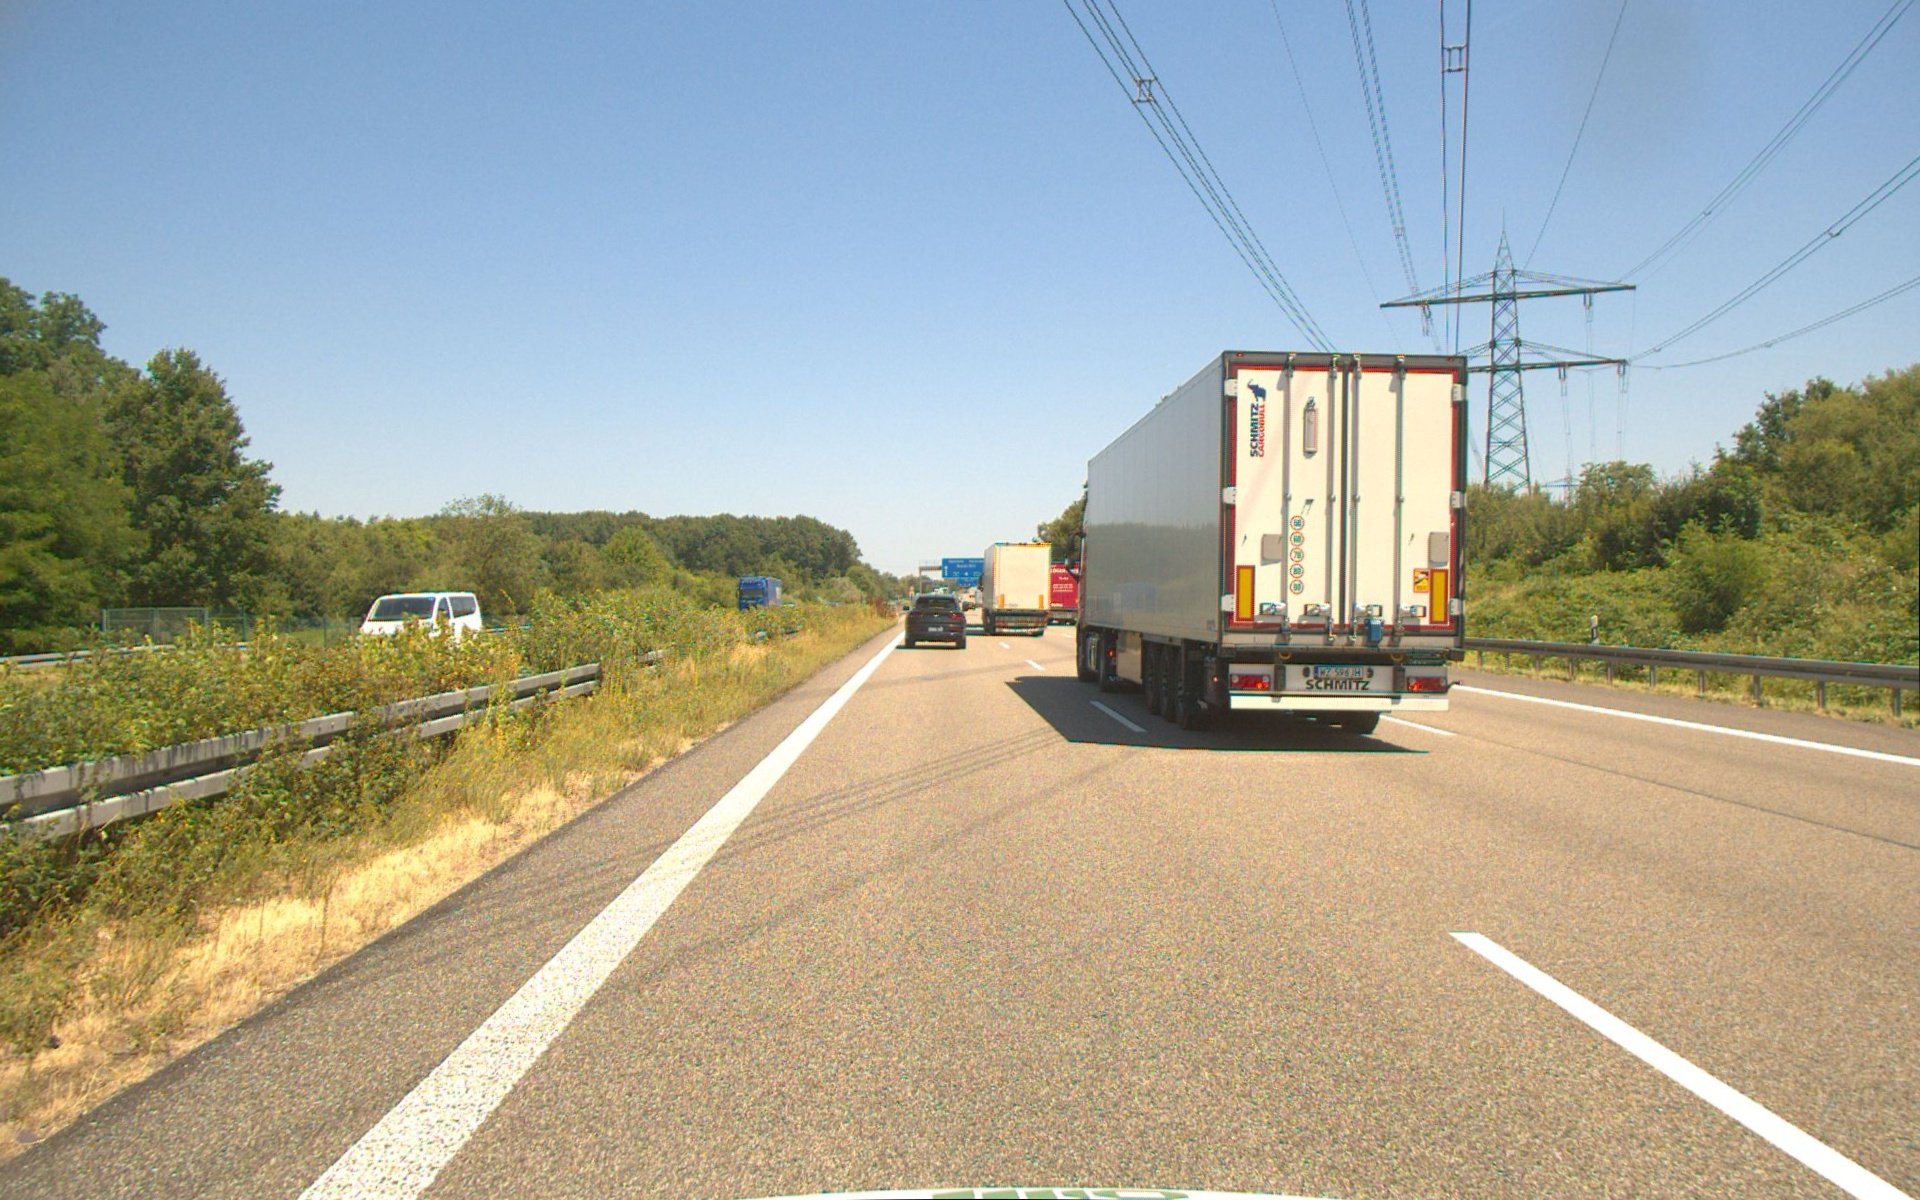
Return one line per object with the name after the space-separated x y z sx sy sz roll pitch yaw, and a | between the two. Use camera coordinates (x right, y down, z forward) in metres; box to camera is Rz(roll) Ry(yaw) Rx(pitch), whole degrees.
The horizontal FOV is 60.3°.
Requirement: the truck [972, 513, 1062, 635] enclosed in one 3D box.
2.518 -1.152 77.054 3.441 5.257 10.254 1 0 -2 | truck

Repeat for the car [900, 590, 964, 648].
-0.943 0.573 53.526 1.954 1.803 3.998 0 0 -3 | car

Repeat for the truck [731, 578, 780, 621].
-18.929 -0.061 153.734 3.441 3.835 12.039 1 0 -2 | truck

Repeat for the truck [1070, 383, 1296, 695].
3.837 -0.980 30.067 3.024 4.970 6.596 1 0 -1 | truck

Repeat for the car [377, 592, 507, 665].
-13.825 0.724 44.492 1.987 1.823 5.659 1 0 -3 | car

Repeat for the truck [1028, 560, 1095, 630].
6.929 -0.341 115.096 3.441 4.571 13.246 1 0 -2 | truck

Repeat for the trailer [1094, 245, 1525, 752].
3.972 -0.993 22.558 3.024 4.970 12.255 1 0 -1 | trailer
